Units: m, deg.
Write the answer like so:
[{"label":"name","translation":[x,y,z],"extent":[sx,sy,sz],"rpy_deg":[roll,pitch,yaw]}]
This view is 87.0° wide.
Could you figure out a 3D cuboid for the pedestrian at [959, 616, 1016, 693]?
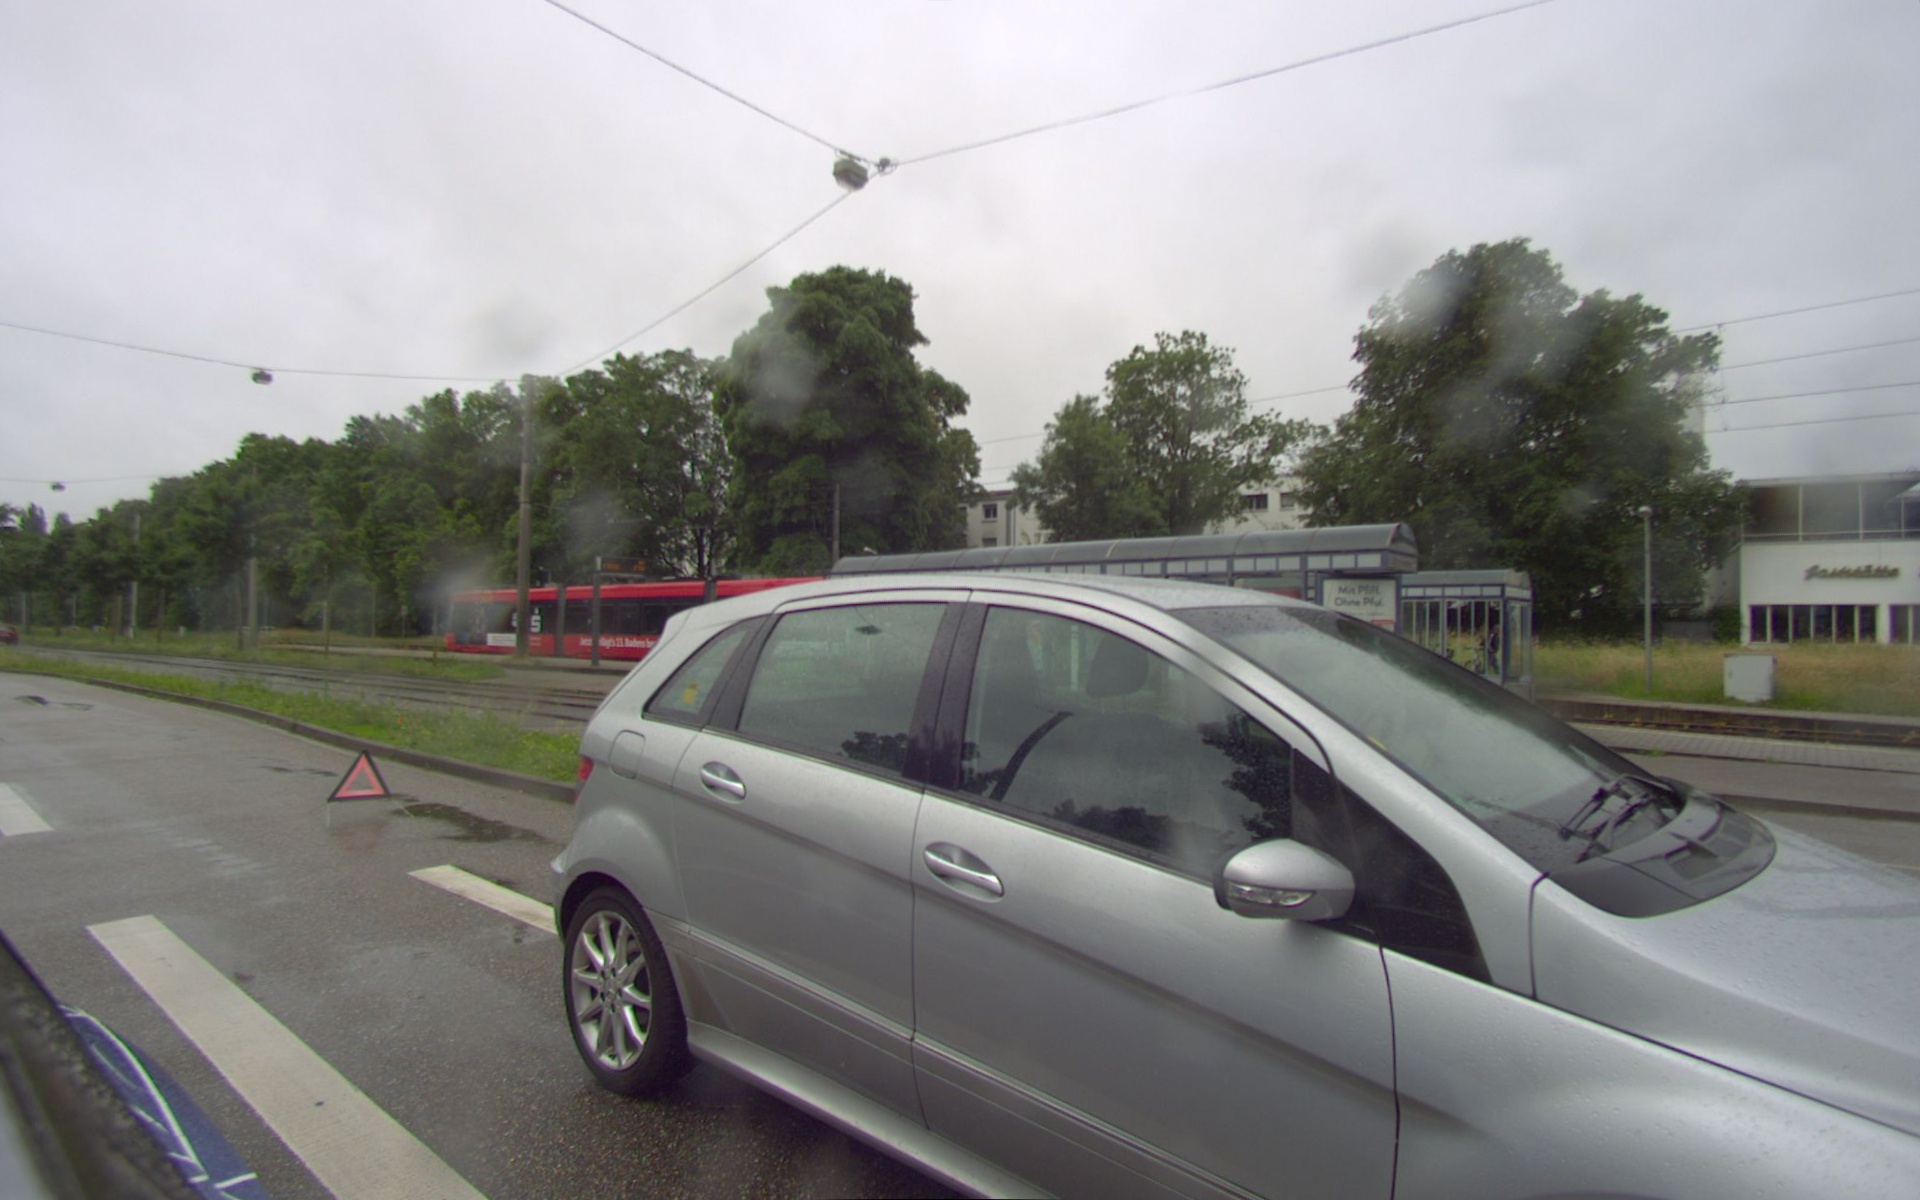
[{"label":"pedestrian","translation":[0.601,1.163,21.810],"extent":[0.929,1.609,0.795],"rpy_deg":[-1,-2,44]}]

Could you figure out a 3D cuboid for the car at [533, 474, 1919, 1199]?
[{"label":"car","translation":[0.663,0.660,2.625],"extent":[4.011,1.556,1.718],"rpy_deg":[-1,-1,42]}]

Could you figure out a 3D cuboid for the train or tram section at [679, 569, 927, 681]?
[{"label":"train or tram section","translation":[-5.732,0.892,35.541],"extent":[9.275,3.416,3.495],"rpy_deg":[-1,-3,42]}]

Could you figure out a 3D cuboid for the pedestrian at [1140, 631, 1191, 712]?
[{"label":"pedestrian","translation":[3.797,1.303,18.706],"extent":[0.699,1.464,0.618],"rpy_deg":[-1,-3,43]}]

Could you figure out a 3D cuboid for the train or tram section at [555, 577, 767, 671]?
[{"label":"train or tram section","translation":[-12.516,1.021,41.626],"extent":[10.257,3.427,3.495],"rpy_deg":[-1,-3,42]}]

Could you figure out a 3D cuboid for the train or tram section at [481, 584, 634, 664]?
[{"label":"train or tram section","translation":[-18.950,1.153,47.396],"extent":[7.900,3.438,3.495],"rpy_deg":[-1,-3,42]}]

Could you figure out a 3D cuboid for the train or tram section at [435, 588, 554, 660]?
[{"label":"train or tram section","translation":[-23.860,1.258,51.792],"extent":[5.767,3.444,3.495],"rpy_deg":[-1,-3,42]}]

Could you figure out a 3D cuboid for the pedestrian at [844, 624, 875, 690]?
[{"label":"pedestrian","translation":[-2.453,1.381,24.665],"extent":[0.514,1.574,0.603],"rpy_deg":[0,0,-35]}]

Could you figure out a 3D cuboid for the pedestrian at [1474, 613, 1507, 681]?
[{"label":"pedestrian","translation":[14.488,1.267,27.628],"extent":[0.680,1.806,0.623],"rpy_deg":[-1,0,40]}]

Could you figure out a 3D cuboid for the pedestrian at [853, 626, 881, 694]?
[{"label":"pedestrian","translation":[-2.208,1.410,23.997],"extent":[0.437,1.574,0.603],"rpy_deg":[0,0,-35]}]

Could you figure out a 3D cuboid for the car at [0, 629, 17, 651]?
[{"label":"car","translation":[-64.514,2.641,67.594],"extent":[4.247,1.371,1.663],"rpy_deg":[-1,-4,40]}]

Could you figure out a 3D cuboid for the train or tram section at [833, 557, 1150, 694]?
[{"label":"train or tram section","translation":[0.665,0.761,29.816],"extent":[9.275,3.415,3.495],"rpy_deg":[-1,-3,42]}]
